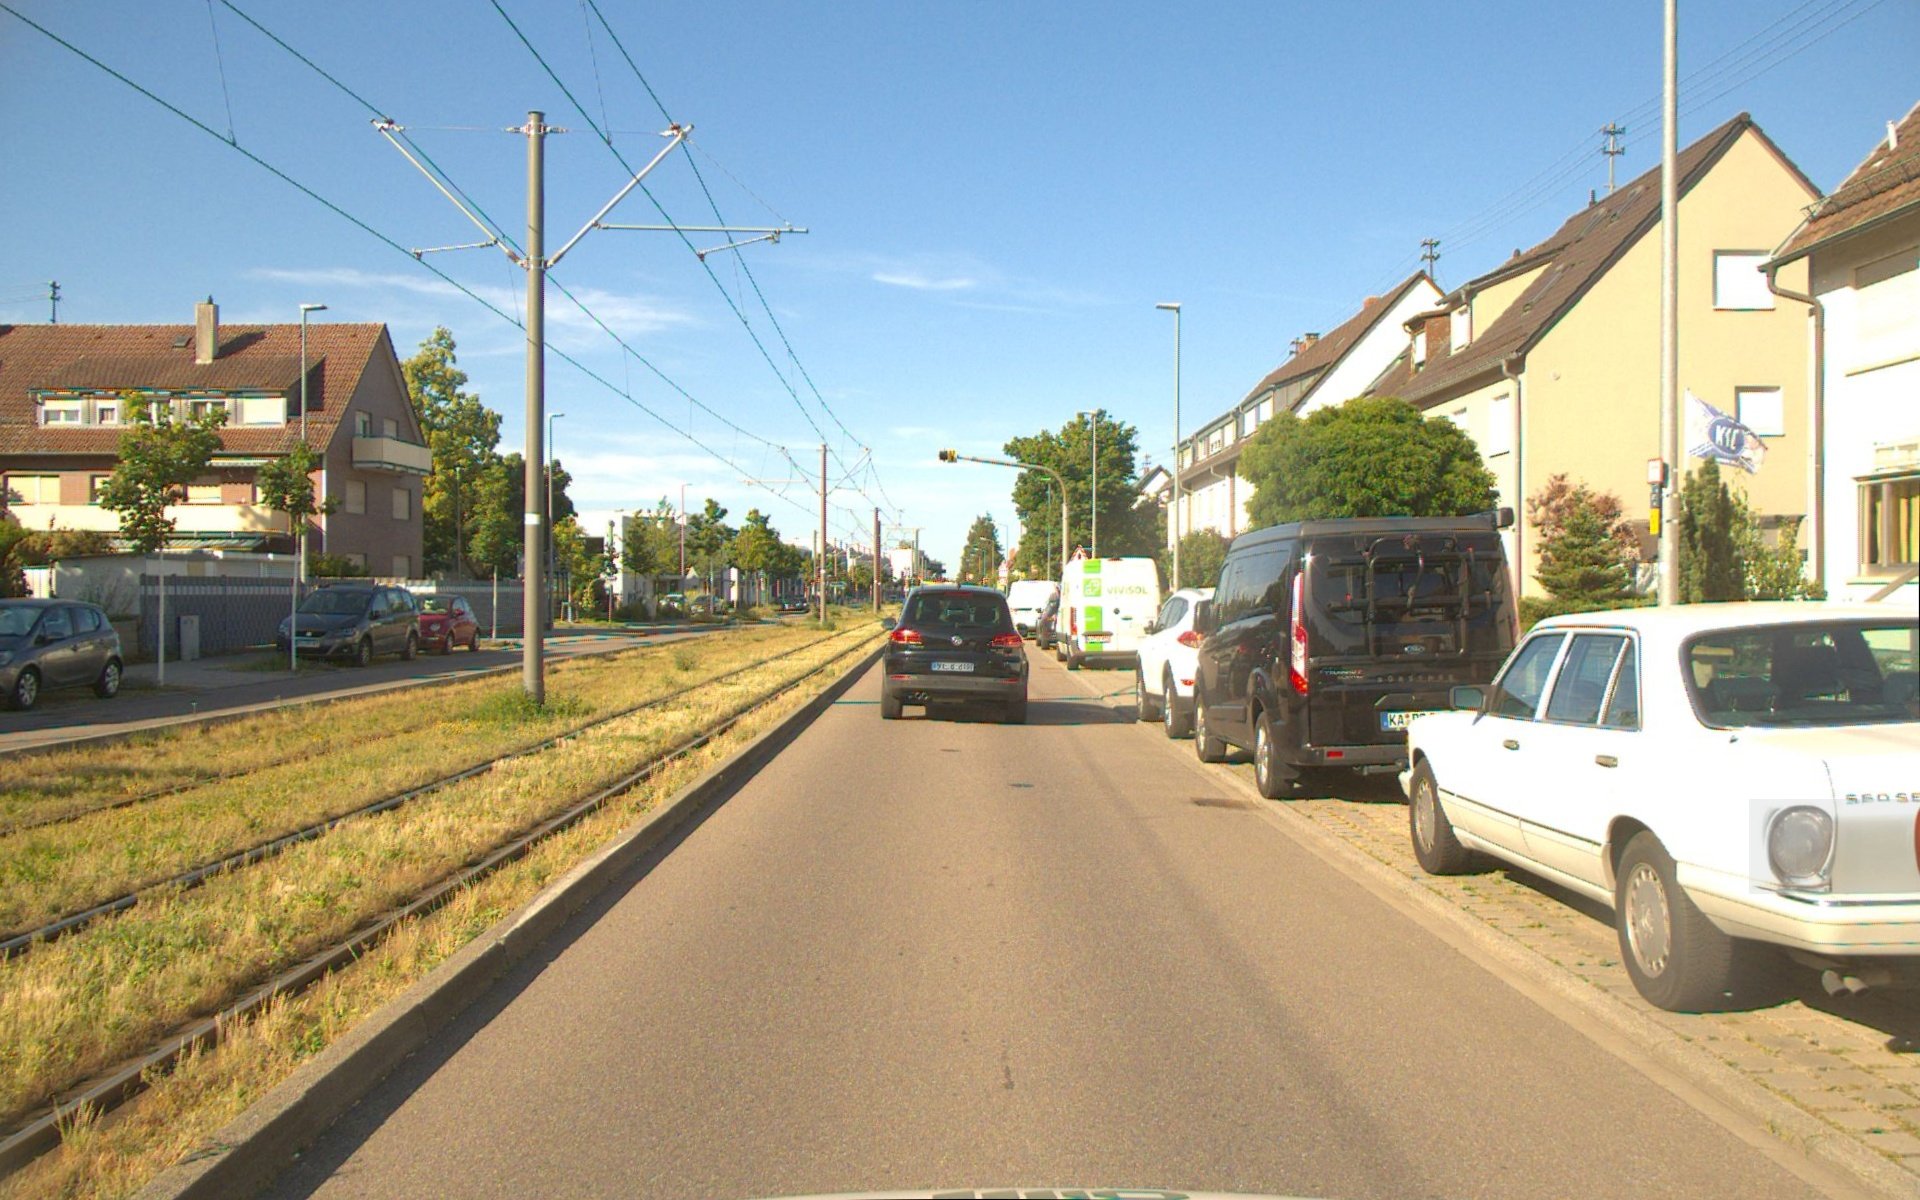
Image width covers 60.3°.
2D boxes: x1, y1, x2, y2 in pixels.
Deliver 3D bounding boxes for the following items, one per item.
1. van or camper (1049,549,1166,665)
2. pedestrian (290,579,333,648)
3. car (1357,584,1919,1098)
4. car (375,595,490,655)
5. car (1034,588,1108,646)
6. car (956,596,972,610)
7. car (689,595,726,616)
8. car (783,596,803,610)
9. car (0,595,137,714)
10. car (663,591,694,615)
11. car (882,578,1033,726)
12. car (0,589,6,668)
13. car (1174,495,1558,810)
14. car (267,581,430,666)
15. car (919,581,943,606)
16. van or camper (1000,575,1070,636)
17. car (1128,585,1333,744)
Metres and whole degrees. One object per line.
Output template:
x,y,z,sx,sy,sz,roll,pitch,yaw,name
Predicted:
3.176,0.143,36.832,1.953,2.310,6.304,-2,0,0,van or camper
-16.165,0.335,41.239,0.682,1.669,0.919,1,0,-3,pedestrian
3.431,0.694,7.738,1.814,1.469,5.614,-2,0,1,car
-13.573,0.614,42.785,1.660,1.429,4.078,0,0,0,car
3.104,0.470,47.160,1.713,1.520,5.154,-2,0,0,car
0.488,0.342,200.691,1.740,1.699,3.998,0,0,-2,car
-18.709,0.416,122.575,1.772,1.486,4.319,1,0,4,car
-18.571,0.316,184.090,1.653,1.413,4.388,-2,0,1,car
-13.549,0.714,23.656,1.643,1.517,4.048,2,0,-3,car
-18.657,0.206,109.659,1.513,1.517,3.774,1,0,-2,car
-0.107,0.614,21.478,1.740,1.699,3.998,1,0,-2,car
-20.162,0.543,31.010,3.537,1.499,1.705,0,0,1,car
3.206,0.360,14.303,1.920,2.181,5.334,-1,0,-1,car
-13.490,0.479,36.808,1.782,1.713,4.846,2,0,0,car
-2.999,-0.683,171.289,2.345,2.609,5.529,0,0,0,car
2.675,0.156,57.508,1.985,1.990,5.299,0,0,7,van or camper
3.121,0.683,19.914,1.690,1.674,4.318,-1,0,-1,car
